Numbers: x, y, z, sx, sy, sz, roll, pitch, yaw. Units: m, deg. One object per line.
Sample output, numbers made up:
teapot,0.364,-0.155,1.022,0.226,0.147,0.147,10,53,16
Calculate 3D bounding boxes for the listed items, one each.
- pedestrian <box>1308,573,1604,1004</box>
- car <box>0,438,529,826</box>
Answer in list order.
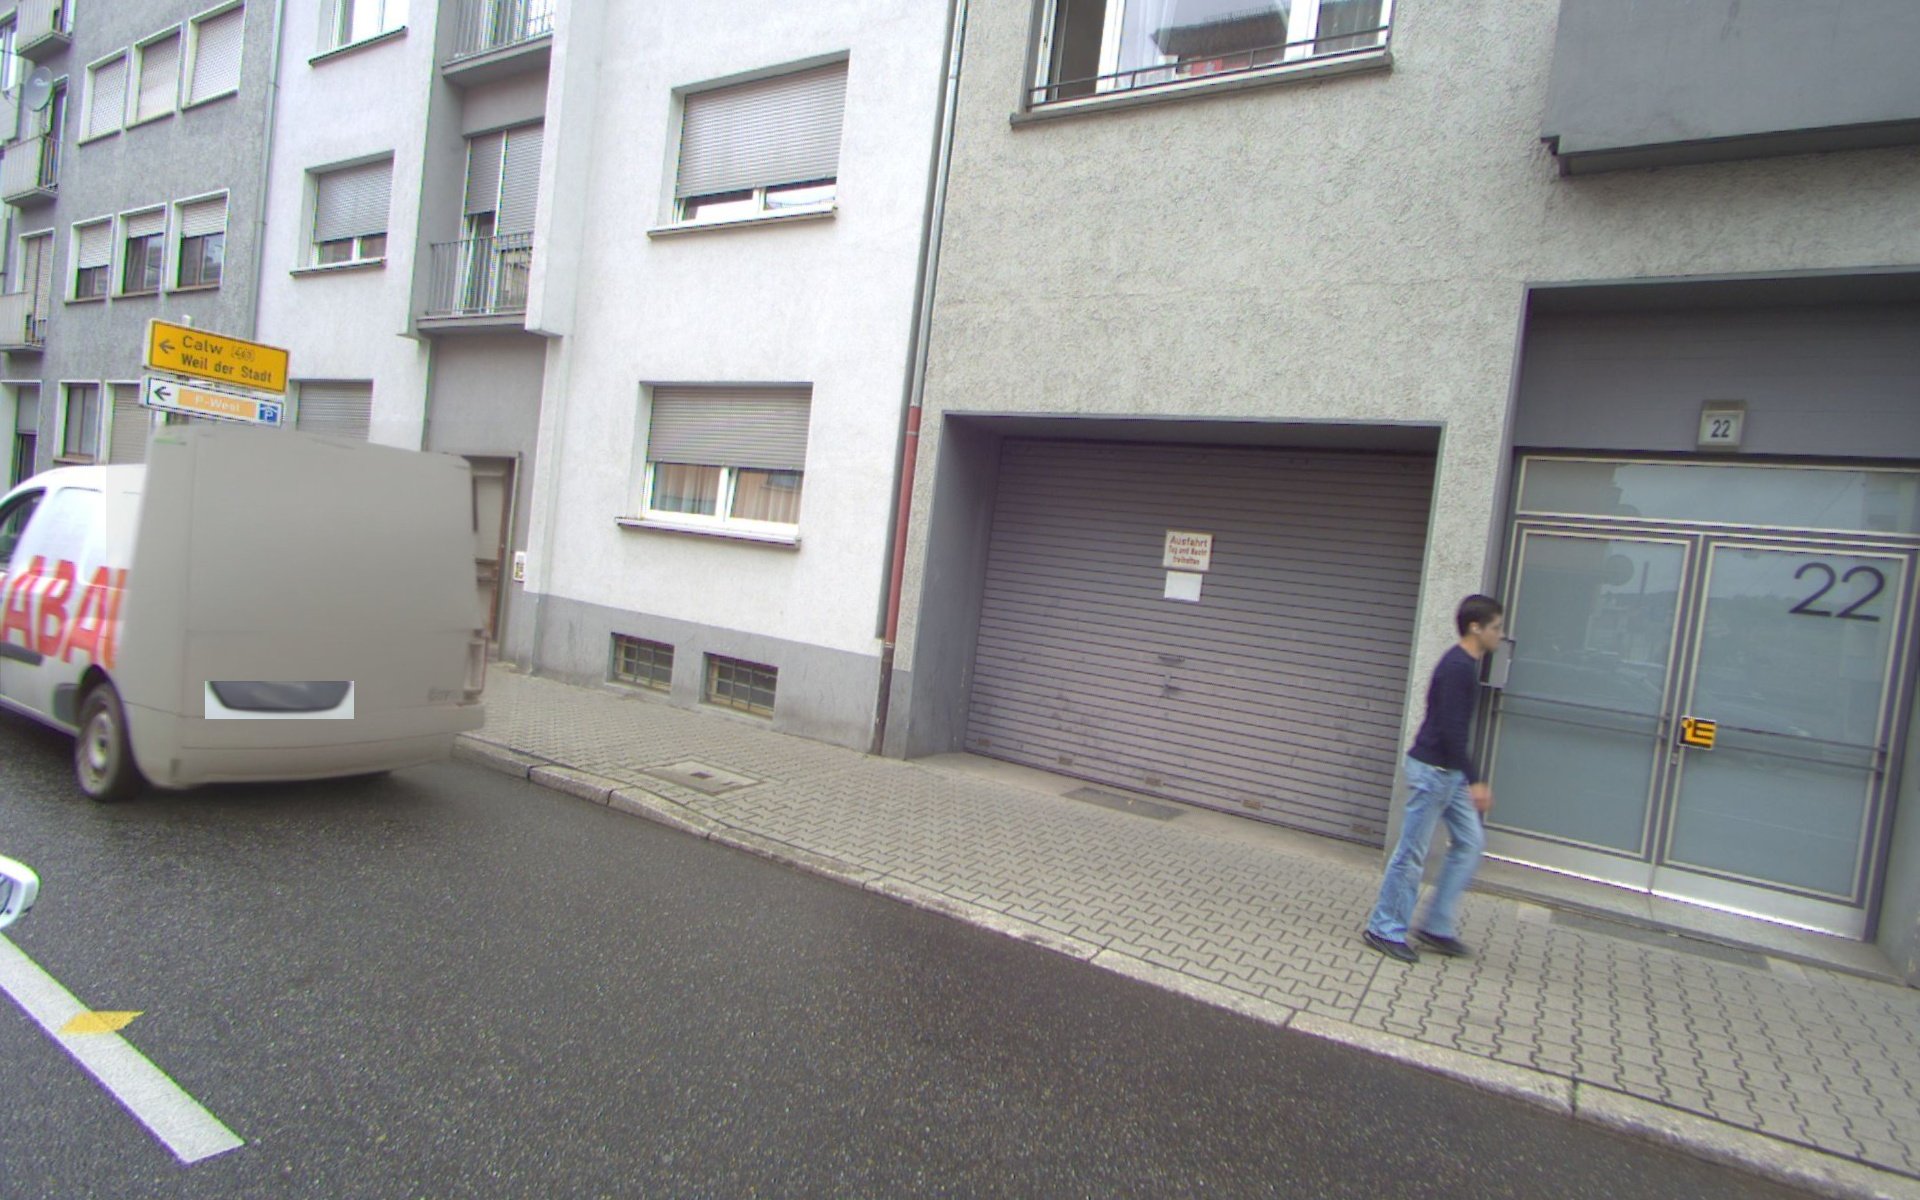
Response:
pedestrian,2.389,0.820,4.883,1.039,1.802,0.643,7,4,31
car,-5.296,0.020,6.752,4.667,1.796,1.943,7,-1,32
